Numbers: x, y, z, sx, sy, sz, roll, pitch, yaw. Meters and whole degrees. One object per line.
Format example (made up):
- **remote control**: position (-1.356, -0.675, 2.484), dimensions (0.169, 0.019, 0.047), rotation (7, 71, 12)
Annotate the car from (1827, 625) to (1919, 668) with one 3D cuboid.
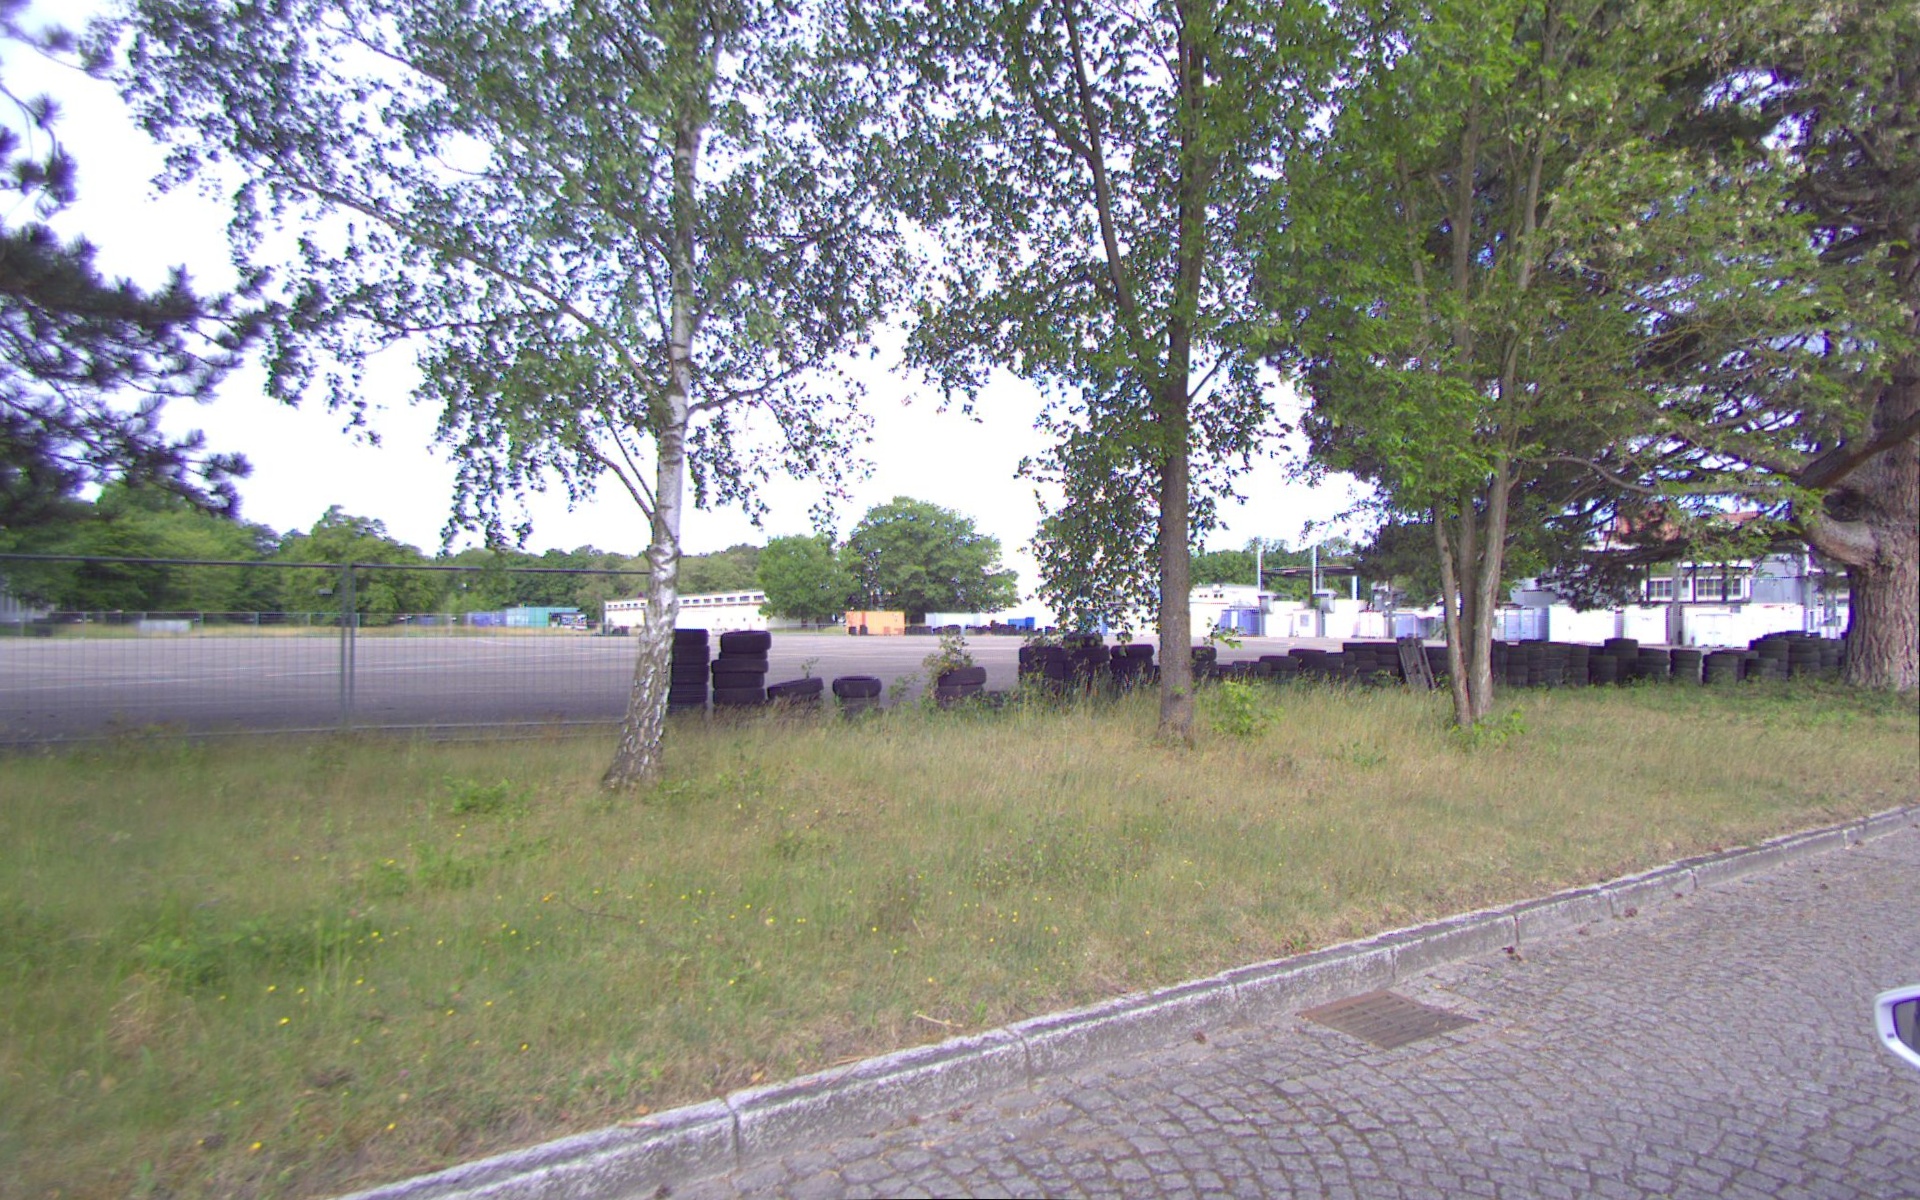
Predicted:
- **car**: position (33.261, 1.631, 35.995), dimensions (4.162, 1.450, 1.818), rotation (1, -1, -26)
